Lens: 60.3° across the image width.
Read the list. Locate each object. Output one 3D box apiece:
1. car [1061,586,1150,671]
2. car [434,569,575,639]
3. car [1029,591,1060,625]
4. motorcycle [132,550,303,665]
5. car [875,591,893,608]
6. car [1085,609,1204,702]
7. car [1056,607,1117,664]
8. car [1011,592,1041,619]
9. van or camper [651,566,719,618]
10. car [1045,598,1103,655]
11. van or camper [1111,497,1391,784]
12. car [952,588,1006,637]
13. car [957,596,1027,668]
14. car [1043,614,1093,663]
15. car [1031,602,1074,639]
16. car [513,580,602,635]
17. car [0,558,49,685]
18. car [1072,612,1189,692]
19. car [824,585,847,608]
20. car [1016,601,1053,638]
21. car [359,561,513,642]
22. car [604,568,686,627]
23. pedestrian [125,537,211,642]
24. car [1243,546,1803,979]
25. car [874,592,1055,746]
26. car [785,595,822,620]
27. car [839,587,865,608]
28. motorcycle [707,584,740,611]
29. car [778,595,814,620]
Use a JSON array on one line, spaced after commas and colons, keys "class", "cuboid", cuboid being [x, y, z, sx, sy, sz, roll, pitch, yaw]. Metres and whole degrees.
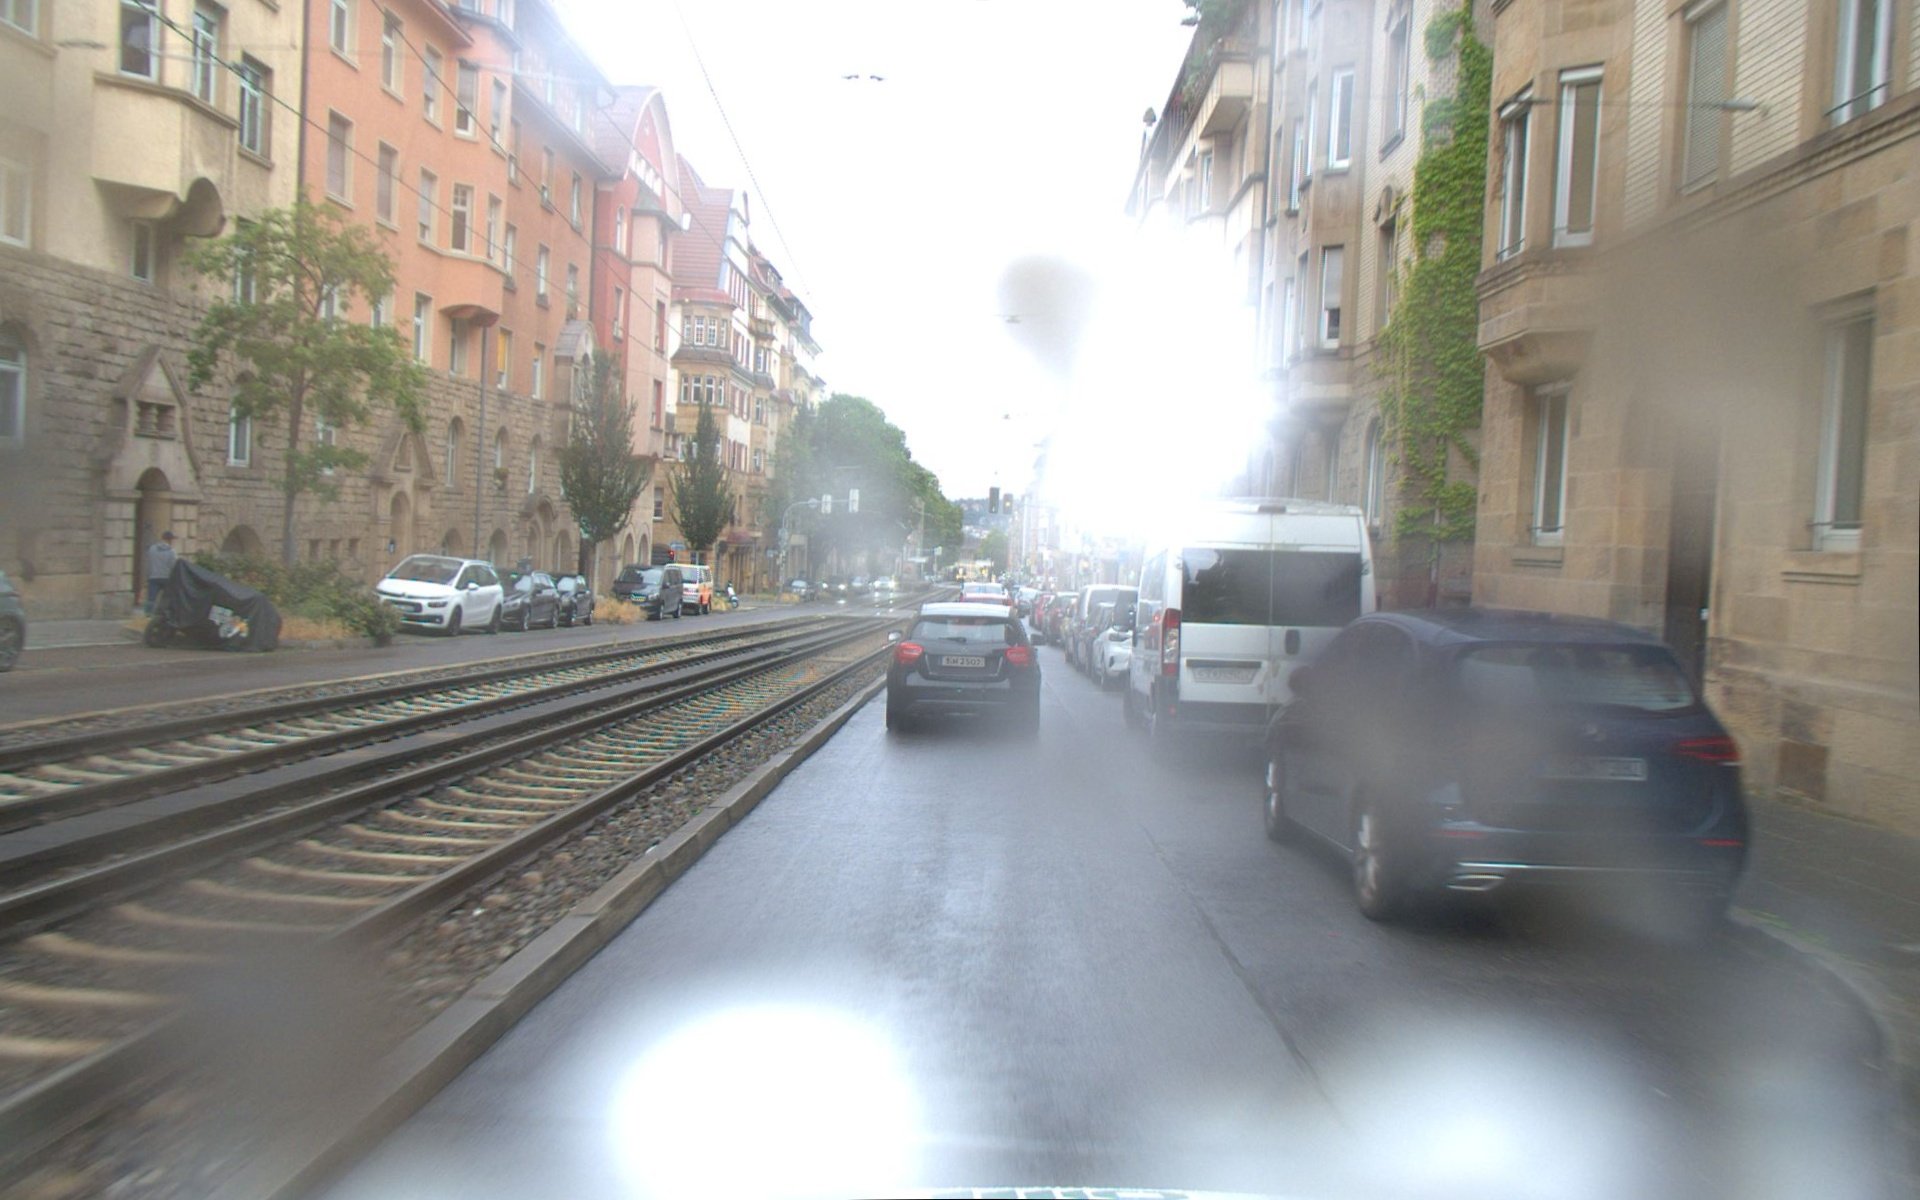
[{"class": "car", "cuboid": [3.359, 0.638, 38.762, 1.738, 1.807, 4.361, 2, 0, 1]}, {"class": "car", "cuboid": [-11.537, 0.105, 42.272, 1.953, 1.535, 4.975, 5, 0, 2]}, {"class": "car", "cuboid": [5.446, 0.564, 107.035, 1.859, 2.063, 4.176, 2, -1, 1]}, {"class": "motorcycle", "cuboid": [-11.696, 0.120, 26.172, 2.223, 1.671, 1.287, 3, 0, -16]}, {"class": "car", "cuboid": [-7.915, -0.059, 172.863, 1.760, 1.575, 3.998, 4, 0, -3]}, {"class": "car", "cuboid": [3.225, 0.927, 29.546, 1.642, 1.435, 4.000, 3, 0, 0]}, {"class": "car", "cuboid": [3.697, 1.023, 48.875, 1.527, 1.504, 3.461, 4, 0, 1]}, {"class": "car", "cuboid": [4.682, 0.397, 118.291, 1.733, 1.807, 3.997, 2, -1, -3]}, {"class": "van or camper", "cuboid": [-11.115, -0.295, 67.191, 1.953, 1.934, 4.698, 3, 0, -1]}, {"class": "car", "cuboid": [3.648, 0.836, 53.305, 1.675, 1.656, 4.001, 3, 0, 3]}, {"class": "van or camper", "cuboid": [2.919, 0.407, 18.078, 2.022, 2.512, 6.119, 2, -1, 1]}, {"class": "car", "cuboid": [0.671, 0.431, 62.110, 1.882, 1.684, 4.000, 3, 0, 0]}, {"class": "car", "cuboid": [0.778, 0.753, 39.470, 1.504, 1.536, 4.000, 3, -1, 1]}, {"class": "car", "cuboid": [3.929, 1.390, 60.455, 1.604, 1.569, 3.466, 4, 0, 2]}, {"class": "car", "cuboid": [3.905, 0.864, 70.291, 1.569, 1.444, 3.148, 3, 0, 0]}, {"class": "car", "cuboid": [-11.497, 0.216, 47.447, 1.609, 1.422, 3.882, 3, 0, -2]}, {"class": "car", "cuboid": [-11.850, 0.200, 17.919, 1.529, 1.463, 4.146, 3, 0, 1]}, {"class": "car", "cuboid": [3.435, 1.032, 33.928, 1.953, 1.466, 4.000, 2, -1, 0]}, {"class": "car", "cuboid": [-9.955, -0.245, 132.225, 1.755, 1.721, 3.996, 3, 0, -5]}, {"class": "car", "cuboid": [3.399, 0.883, 75.894, 1.517, 1.534, 4.001, 4, 0, 1]}, {"class": "car", "cuboid": [-11.492, 0.035, 36.585, 1.747, 1.617, 4.353, 2, 0, 3]}, {"class": "car", "cuboid": [-11.243, -0.069, 59.291, 1.953, 1.935, 4.698, 2, 0, 0]}, {"class": "pedestrian", "cuboid": [-14.132, -0.185, 29.541, 0.986, 1.784, 0.924, 3, 0, 1]}, {"class": "car", "cuboid": [2.918, 0.744, 9.680, 1.732, 1.839, 4.482, 3, 0, 1]}, {"class": "car", "cuboid": [0.047, 0.773, 19.742, 1.906, 1.592, 3.642, 2, -1, 0]}, {"class": "car", "cuboid": [-10.507, 0.480, 111.170, 1.952, 1.544, 4.001, 3, 0, 1]}, {"class": "car", "cuboid": [-9.752, -0.206, 149.377, 1.953, 1.825, 4.001, 3, 0, 1]}, {"class": "motorcycle", "cuboid": [-11.090, -0.126, 77.596, 1.410, 1.154, 0.618, 3, -1, 31]}, {"class": "car", "cuboid": [-10.457, 0.509, 105.845, 1.735, 1.489, 4.000, 2, -1, 1]}]
